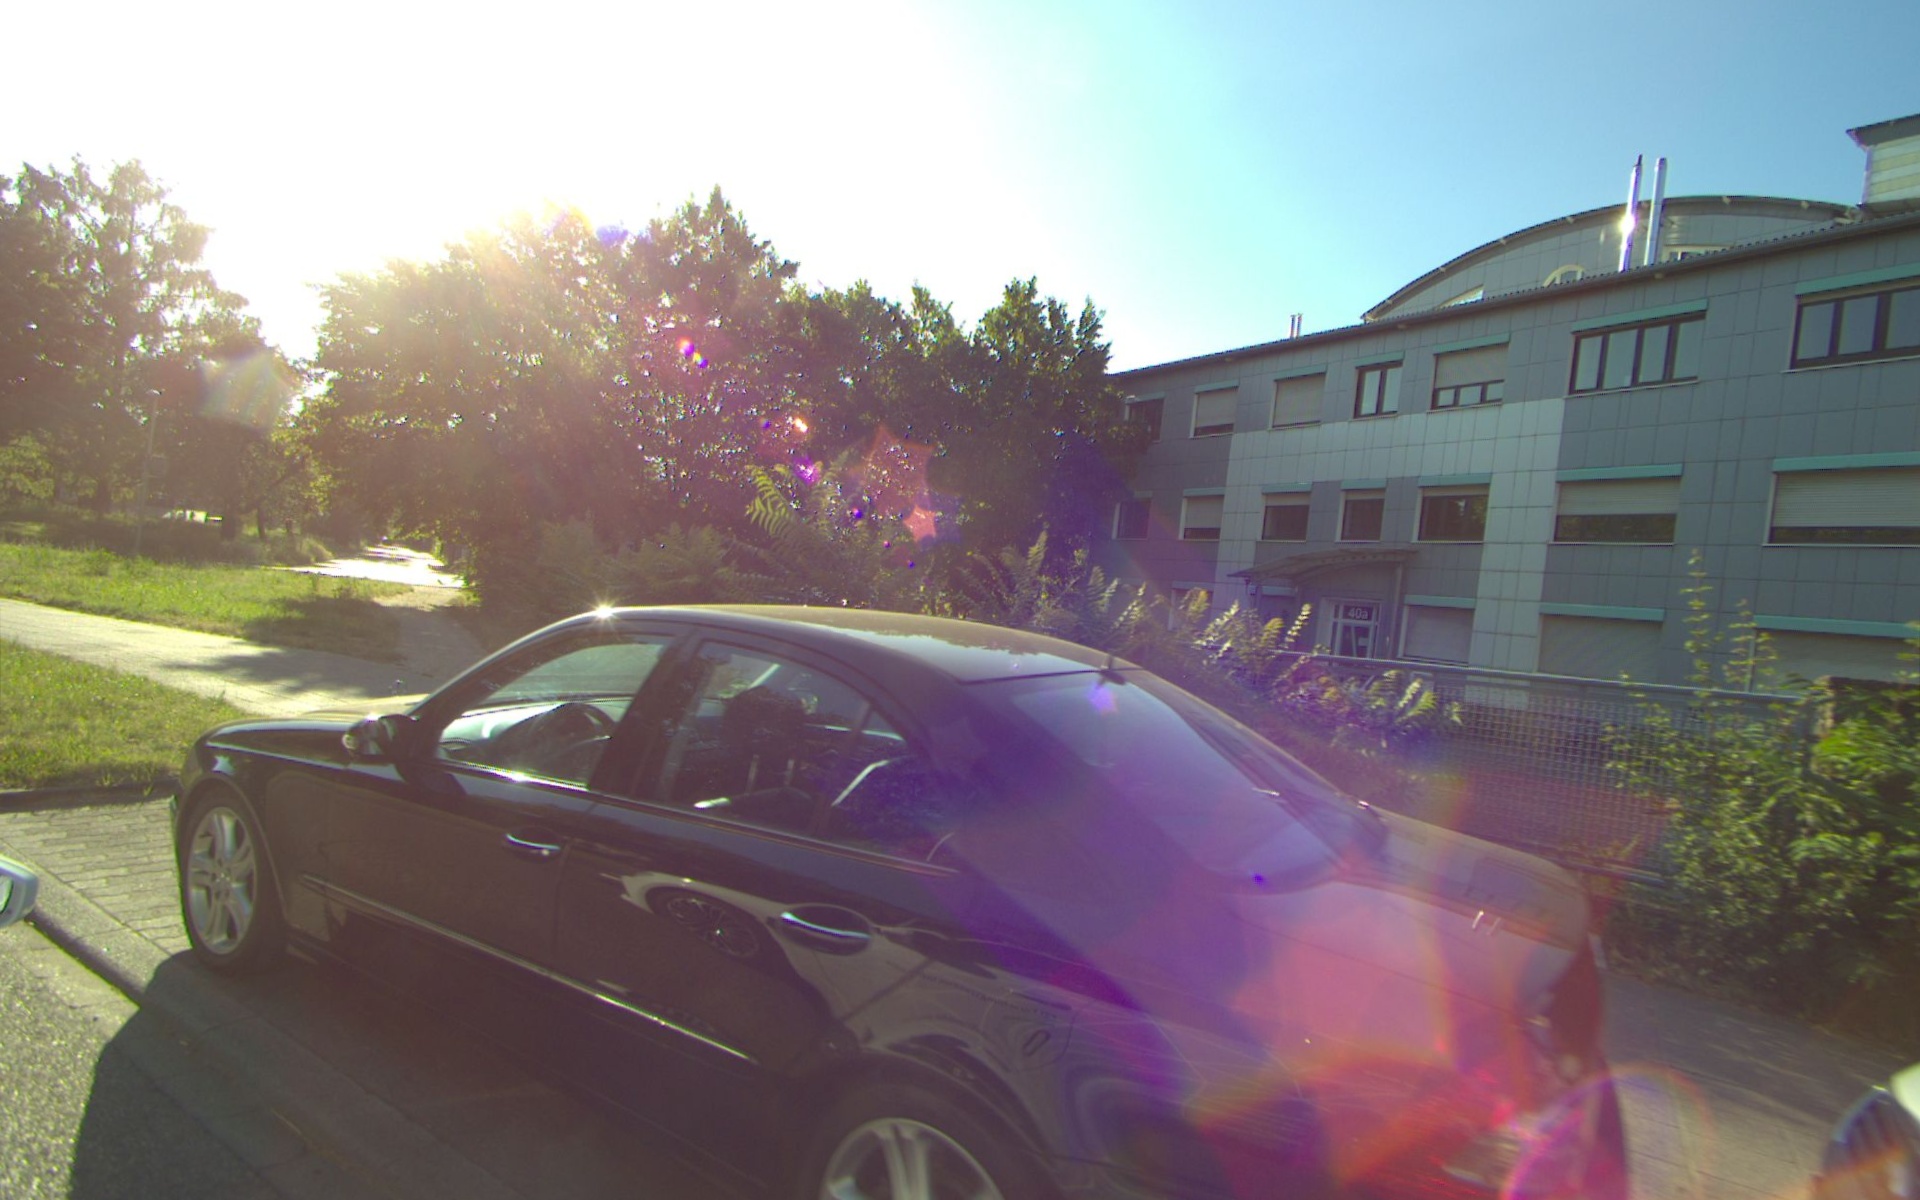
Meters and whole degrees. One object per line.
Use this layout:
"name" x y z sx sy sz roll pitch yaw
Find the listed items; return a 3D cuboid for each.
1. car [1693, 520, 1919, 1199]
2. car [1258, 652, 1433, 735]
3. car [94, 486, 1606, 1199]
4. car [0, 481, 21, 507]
"car" 3.629 1.021 0.611 4.835 1.781 1.996 7 0 32
"car" 9.106 2.221 23.690 3.963 1.593 1.891 6 0 -36
"car" -0.749 0.621 3.281 4.611 1.535 1.783 7 1 32
"car" -73.151 -8.209 75.892 4.319 1.750 1.816 7 1 25
